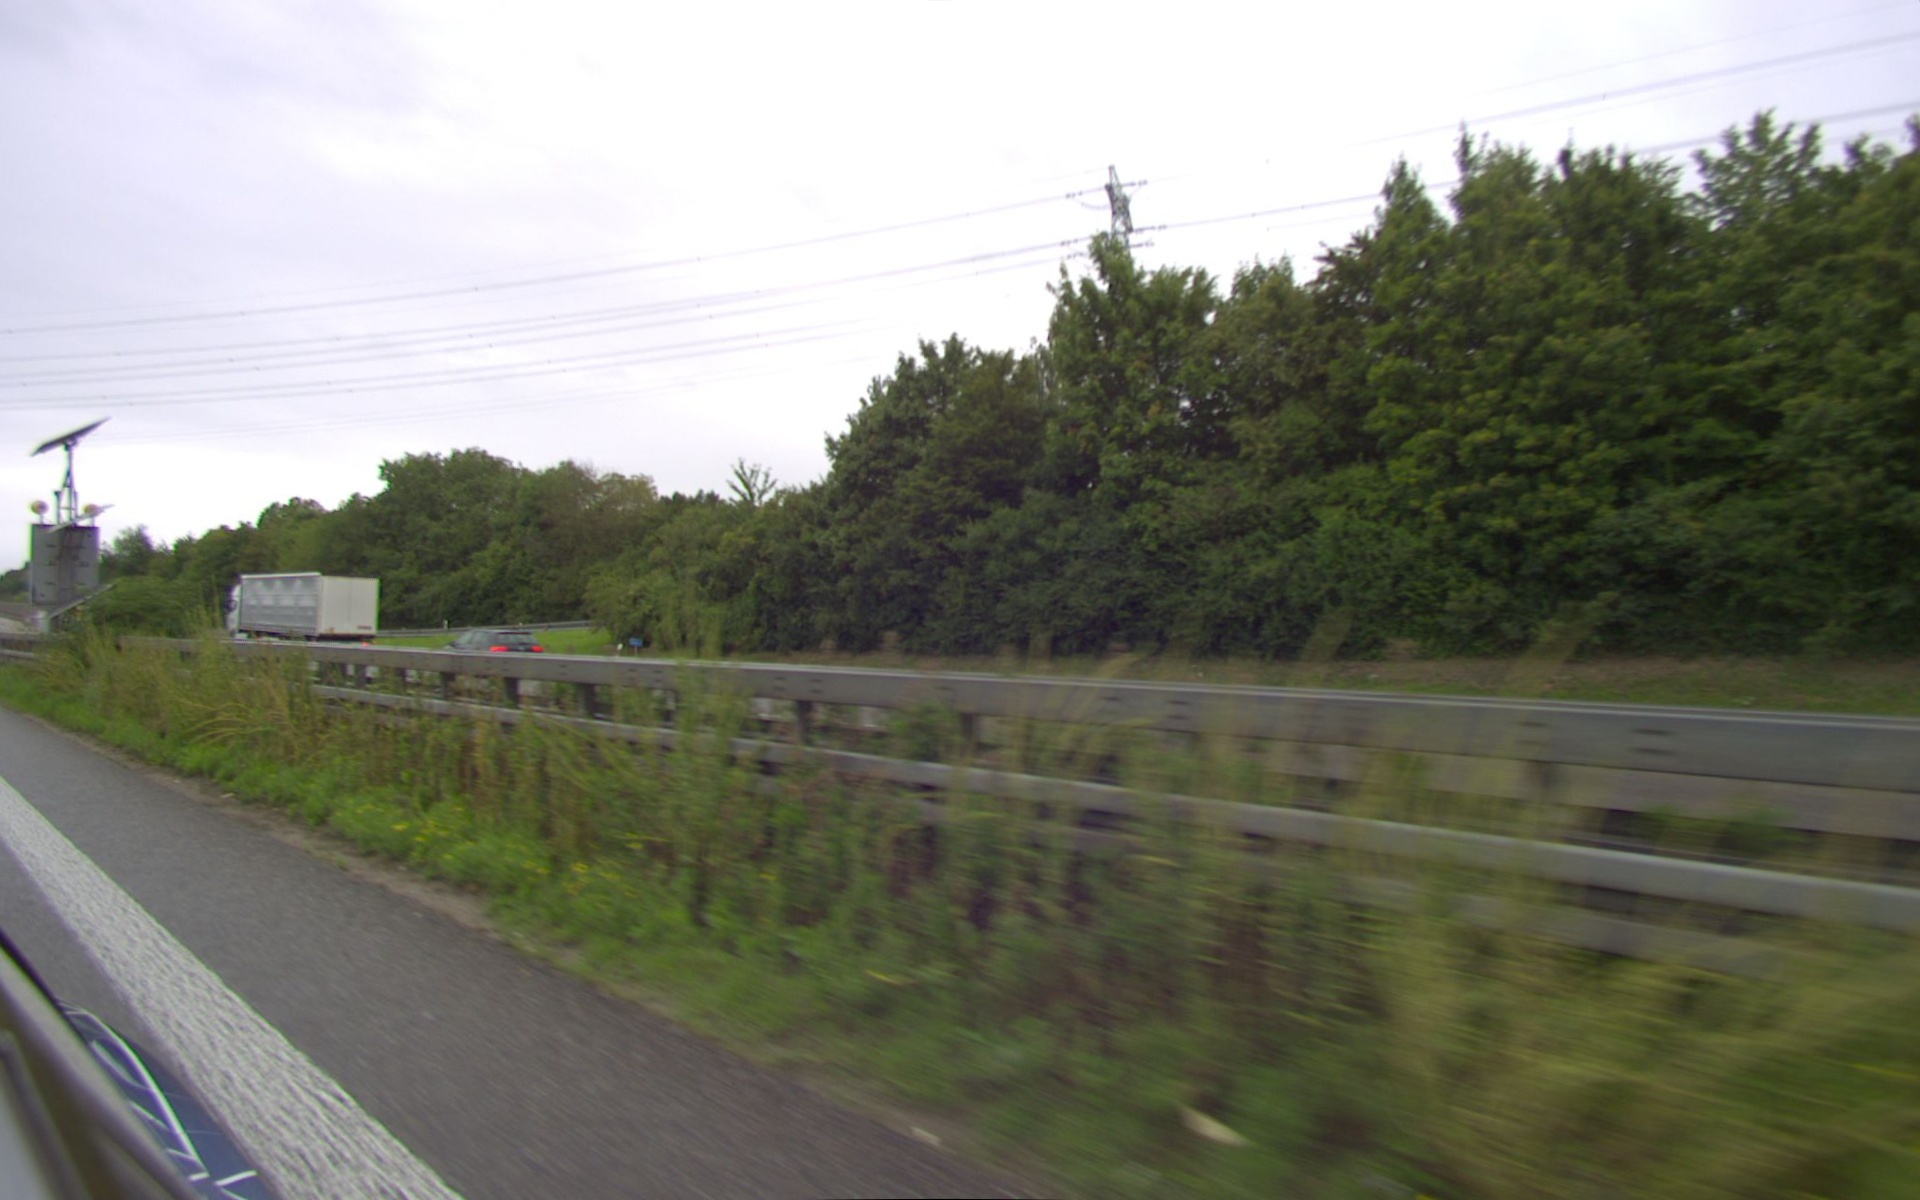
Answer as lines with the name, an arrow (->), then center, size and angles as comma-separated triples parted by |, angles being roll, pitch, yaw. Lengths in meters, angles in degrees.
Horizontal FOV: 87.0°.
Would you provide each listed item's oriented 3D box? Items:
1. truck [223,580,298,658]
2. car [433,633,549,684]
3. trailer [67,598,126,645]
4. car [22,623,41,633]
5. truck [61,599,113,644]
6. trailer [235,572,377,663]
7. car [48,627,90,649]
truck -> -40.076, 1.125, 57.953 | 3.998, 4.269, 2.615 | -2, -2, 42
car -> -14.031, 1.705, 30.179 | 3.998, 1.408, 1.661 | -2, -2, 41
trailer -> -78.995, 2.013, 92.507 | 9.196, 4.086, 2.733 | -1, -4, 41
car -> -147.101, 4.479, 160.254 | 4.001, 1.555, 1.946 | -1, -2, 44
truck -> -82.587, 2.108, 95.690 | 6.154, 4.086, 2.733 | -1, -4, 41
trailer -> -34.474, 0.981, 52.984 | 13.906, 4.269, 2.615 | -2, -2, 42
car -> -66.932, 2.839, 75.983 | 4.470, 1.651, 1.805 | -1, -2, 41
